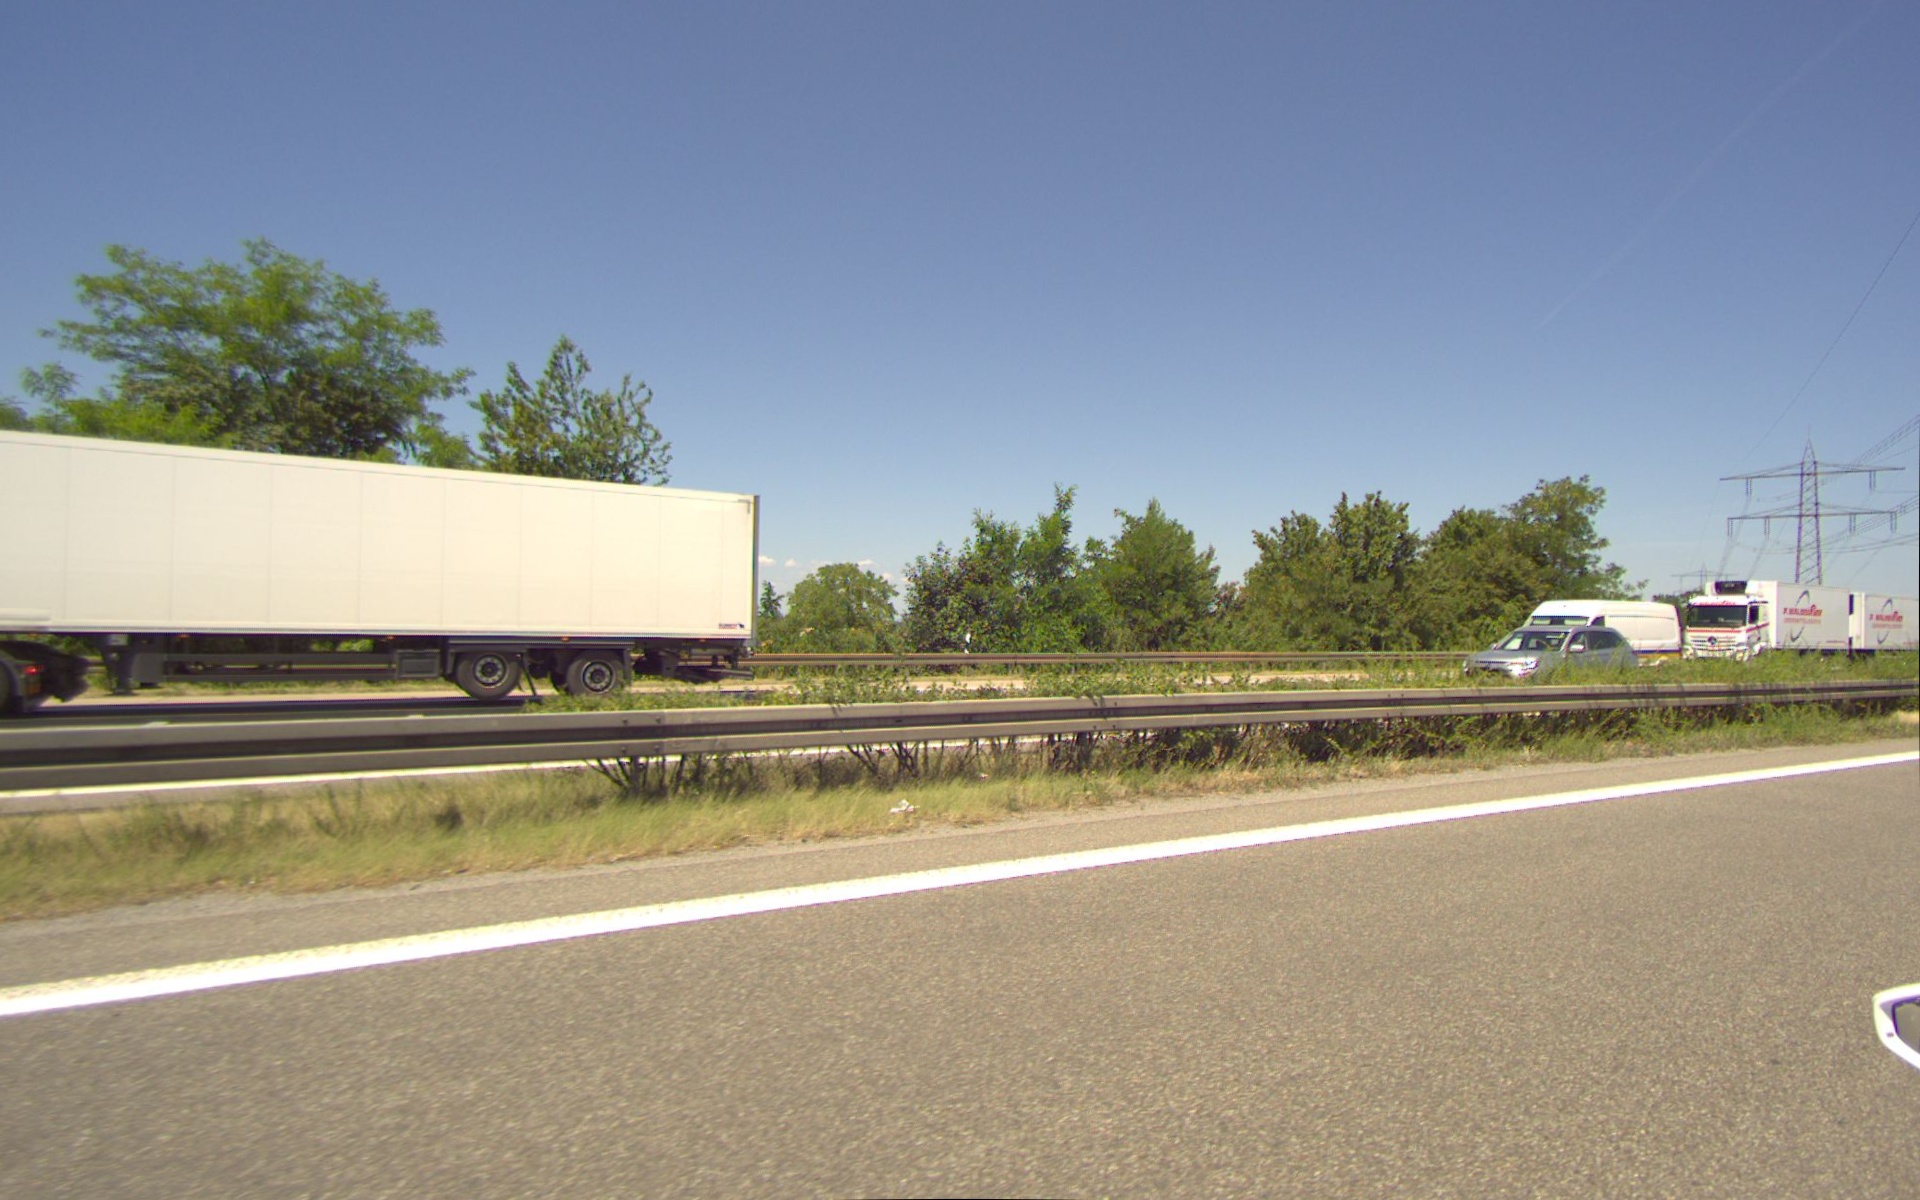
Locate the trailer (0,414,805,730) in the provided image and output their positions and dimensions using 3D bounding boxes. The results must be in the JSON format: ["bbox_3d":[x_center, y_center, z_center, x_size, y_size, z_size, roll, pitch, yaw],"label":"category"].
[{"bbox_3d":[-9.828,-0.299,17.236,14.264,4.347,2.411,1,0,-31],"label":"trailer"}]

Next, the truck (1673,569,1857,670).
[{"bbox_3d":[35.161,0.868,43.687,10.470,4.002,2.678,1,0,-31],"label":"truck"}]

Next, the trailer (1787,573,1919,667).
[{"bbox_3d":[43.612,0.979,48.642,8.230,4.220,2.827,1,0,-31],"label":"trailer"}]

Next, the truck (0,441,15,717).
[{"bbox_3d":[-16.292,-0.344,13.396,4.863,4.166,2.411,1,0,-31],"label":"truck"}]

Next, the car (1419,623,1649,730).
[{"bbox_3d":[12.637,1.587,22.095,4.504,2.040,2.471,1,0,-30],"label":"car"}]

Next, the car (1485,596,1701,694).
[{"bbox_3d":[18.894,1.282,29.870,7.038,2.614,2.470,1,0,-31],"label":"car"}]

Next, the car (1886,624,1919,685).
[{"bbox_3d":[34.993,1.925,35.305,5.633,2.040,1.984,1,0,-30],"label":"car"}]
